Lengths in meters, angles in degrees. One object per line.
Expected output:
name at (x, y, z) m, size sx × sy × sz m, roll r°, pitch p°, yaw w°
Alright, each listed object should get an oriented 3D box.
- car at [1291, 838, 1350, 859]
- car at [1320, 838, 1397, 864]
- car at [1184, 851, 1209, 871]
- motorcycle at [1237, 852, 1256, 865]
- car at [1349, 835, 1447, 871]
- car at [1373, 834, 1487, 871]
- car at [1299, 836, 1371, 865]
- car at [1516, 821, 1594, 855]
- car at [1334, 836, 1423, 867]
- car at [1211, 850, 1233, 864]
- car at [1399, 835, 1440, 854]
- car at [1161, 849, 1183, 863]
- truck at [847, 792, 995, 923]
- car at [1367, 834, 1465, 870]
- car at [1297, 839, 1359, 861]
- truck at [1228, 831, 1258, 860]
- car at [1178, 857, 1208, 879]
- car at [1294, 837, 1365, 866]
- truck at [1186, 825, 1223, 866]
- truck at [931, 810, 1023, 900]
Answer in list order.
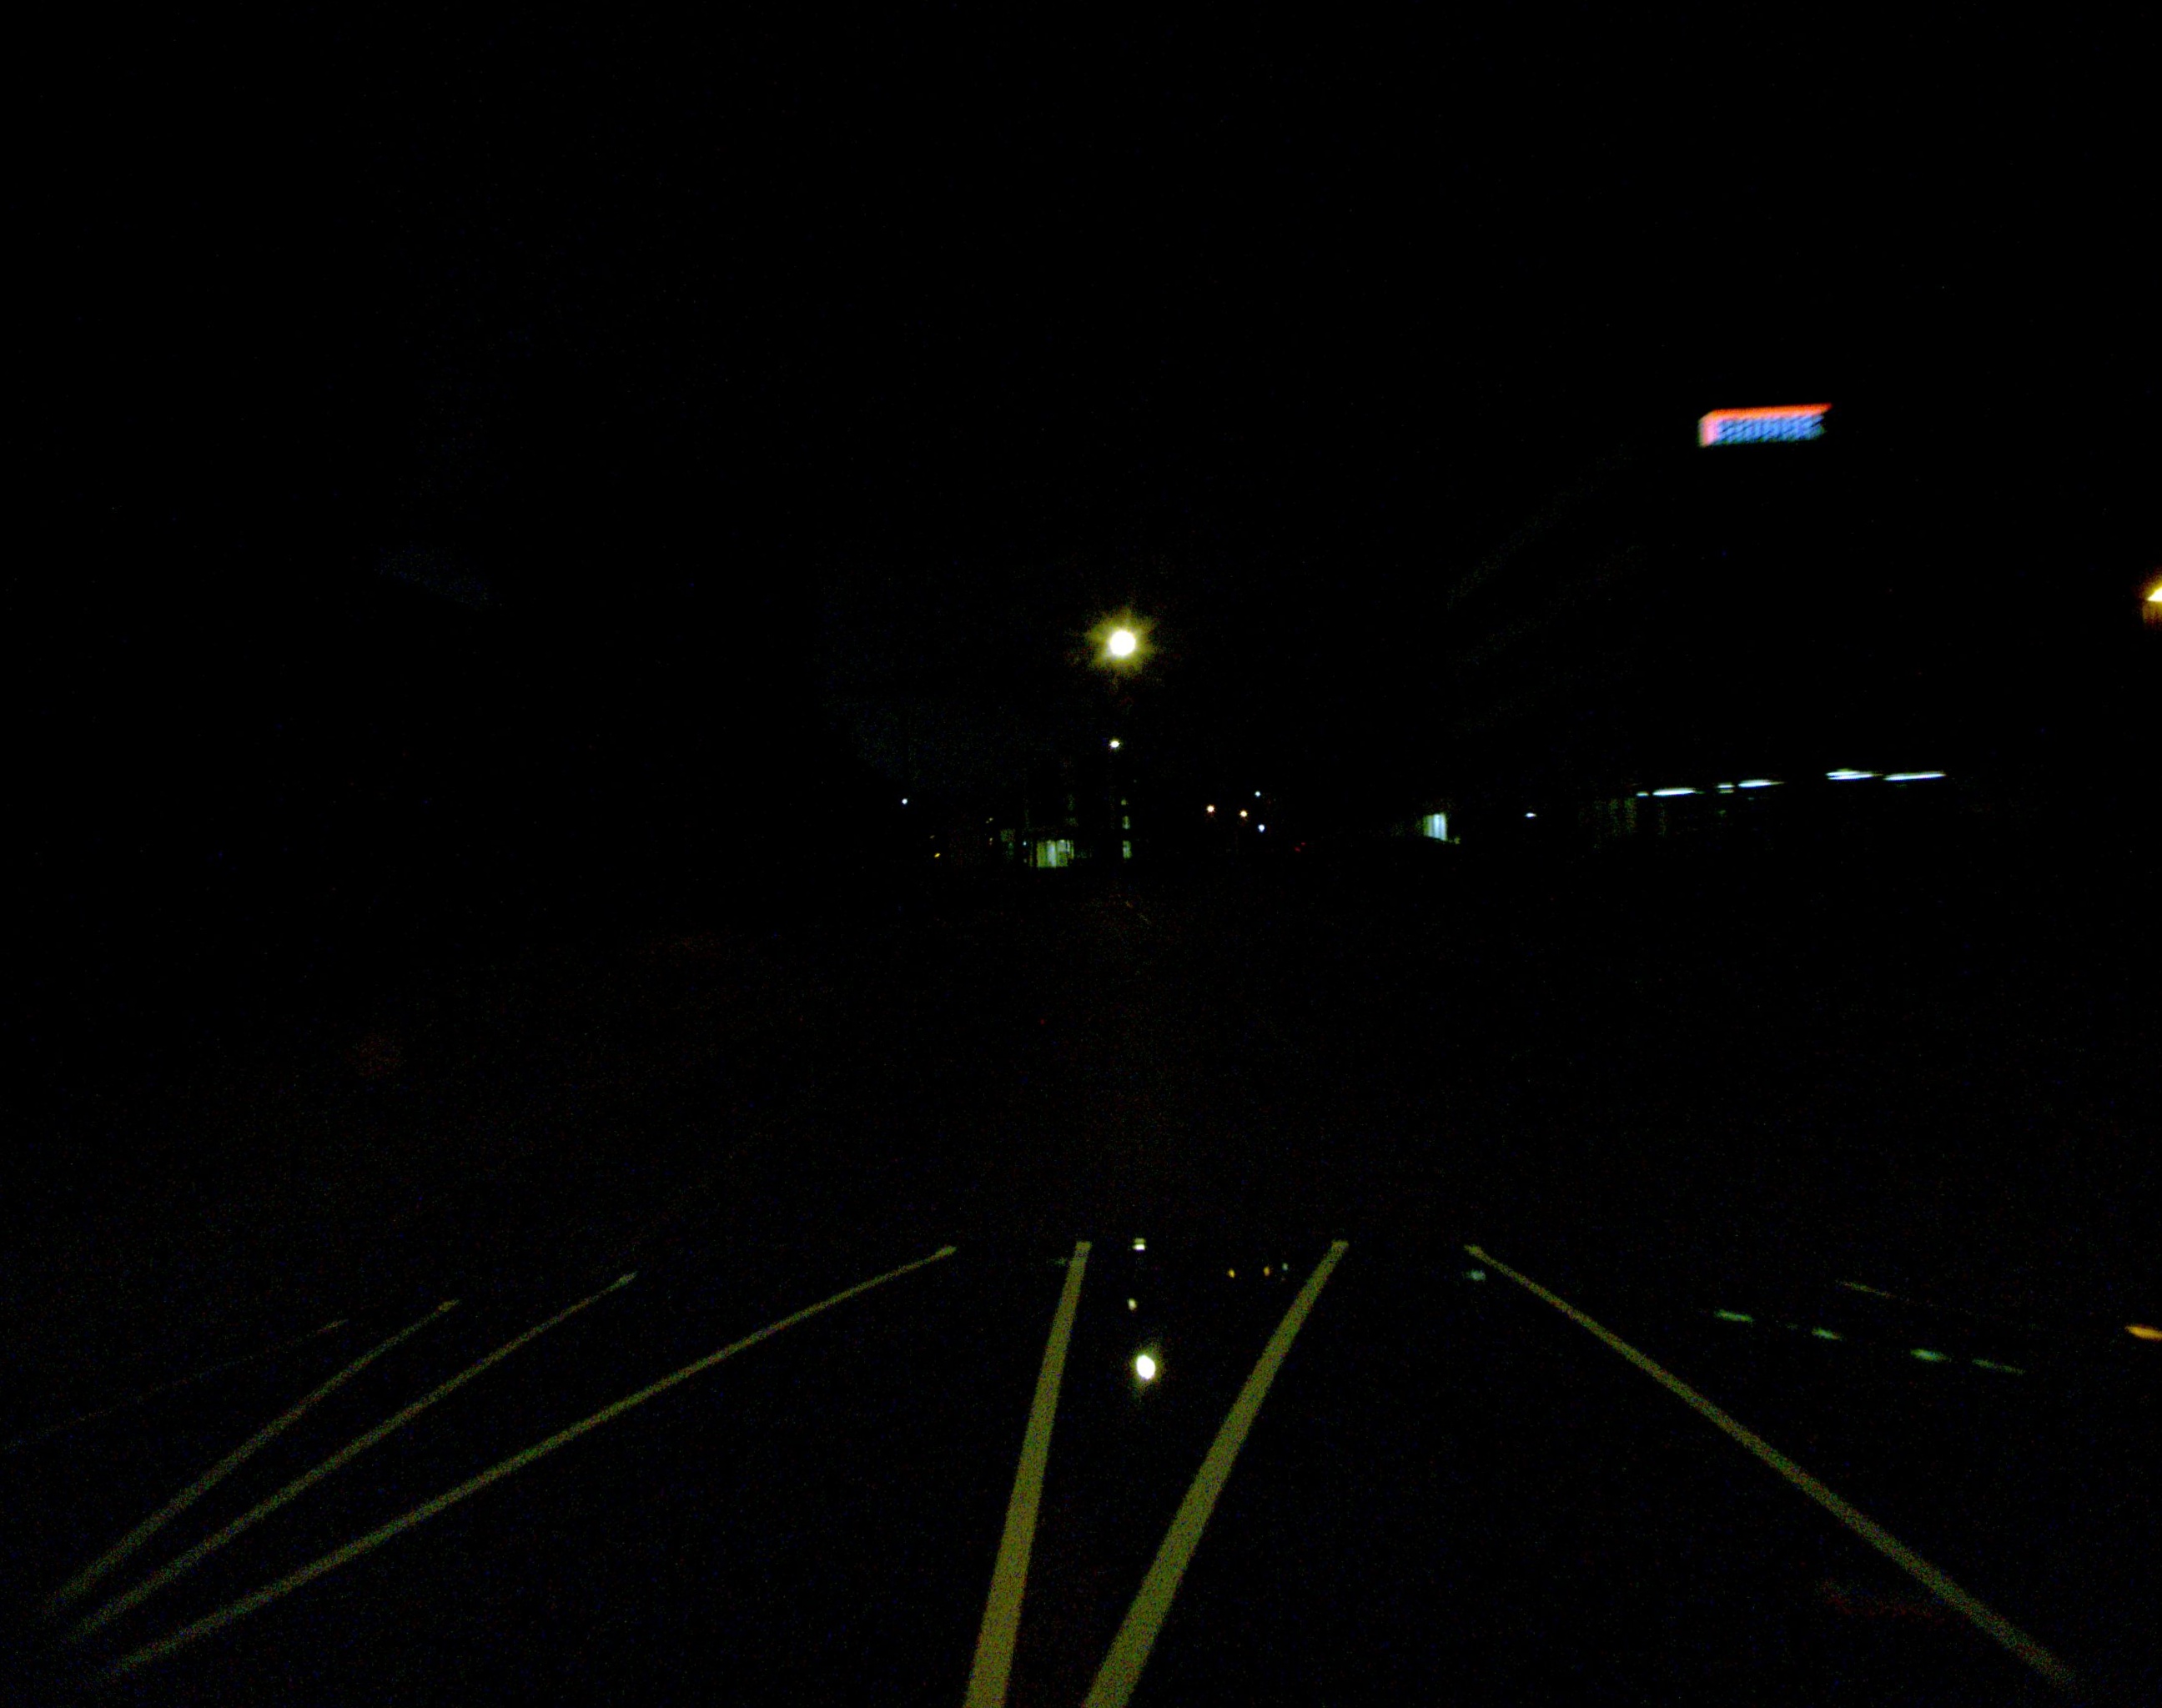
car at (20.062, -0.482, 63.800) m, size 4.413 × 1.473 × 1.893 m, roll -3°, pitch 0°, yaw 6°
car at (17.755, -0.182, 48.829) m, size 4.275 × 1.386 × 1.828 m, roll -3°, pitch 0°, yaw 6°
car at (9.922, 0.591, 65.147) m, size 1.869 × 1.583 × 4.498 m, roll -3°, pitch 0°, yaw 11°
motorcycle at (16.786, 0.478, 77.042) m, size 1.693 × 1.095 × 0.531 m, roll -6°, pitch 2°, yaw -16°
car at (17.102, -0.044, 41.171) m, size 4.414 × 1.671 × 1.963 m, roll -3°, pitch 0°, yaw 4°
car at (16.489, -0.073, 36.095) m, size 4.457 × 1.444 × 2.062 m, roll -3°, pitch 0°, yaw 9°
car at (18.650, -0.240, 56.016) m, size 4.617 × 1.805 × 1.963 m, roll -3°, pitch 0°, yaw 6°
car at (25.995, -0.832, 41.853) m, size 1.998 × 1.632 × 4.205 m, roll -4°, pitch -1°, yaw 7°
car at (17.104, -0.143, 43.854) m, size 4.413 × 1.470 × 1.852 m, roll -3°, pitch 0°, yaw 6°
car at (17.909, 0.362, 96.532) m, size 1.946 × 1.707 × 5.205 m, roll -3°, pitch 0°, yaw 18°
car at (28.541, -0.784, 64.136) m, size 1.906 × 1.448 × 4.467 m, roll -4°, pitch -1°, yaw 8°
car at (13.897, 0.261, 115.926) m, size 1.995 × 2.002 × 4.919 m, roll -2°, pitch 0°, yaw 23°
truck at (-5.318, 0.115, 27.592) m, size 2.762 × 3.761 × 10.226 m, roll -3°, pitch 0°, yaw 2°
car at (17.004, -0.114, 38.754) m, size 4.140 × 1.570 × 1.842 m, roll -3°, pitch 0°, yaw 6°
car at (20.001, -0.312, 61.591) m, size 4.413 × 1.444 × 1.829 m, roll -3°, pitch 0°, yaw 6°
truck at (24.423, -1.318, 114.096) m, size 2.749 × 4.010 × 9.574 m, roll -3°, pitch 0°, yaw 21°
car at (7.868, 0.951, 53.782) m, size 1.818 × 1.363 × 4.362 m, roll -3°, pitch 0°, yaw 5°
car at (17.494, -0.180, 53.738) m, size 4.413 × 1.805 × 1.963 m, roll -3°, pitch 0°, yaw 6°
truck at (13.455, -0.875, 82.333) m, size 2.776 × 4.096 × 9.351 m, roll -3°, pitch 0°, yaw 16°
truck at (-4.839, 0.068, 37.384) m, size 2.762 × 3.761 × 9.138 m, roll -3°, pitch 0°, yaw 2°
